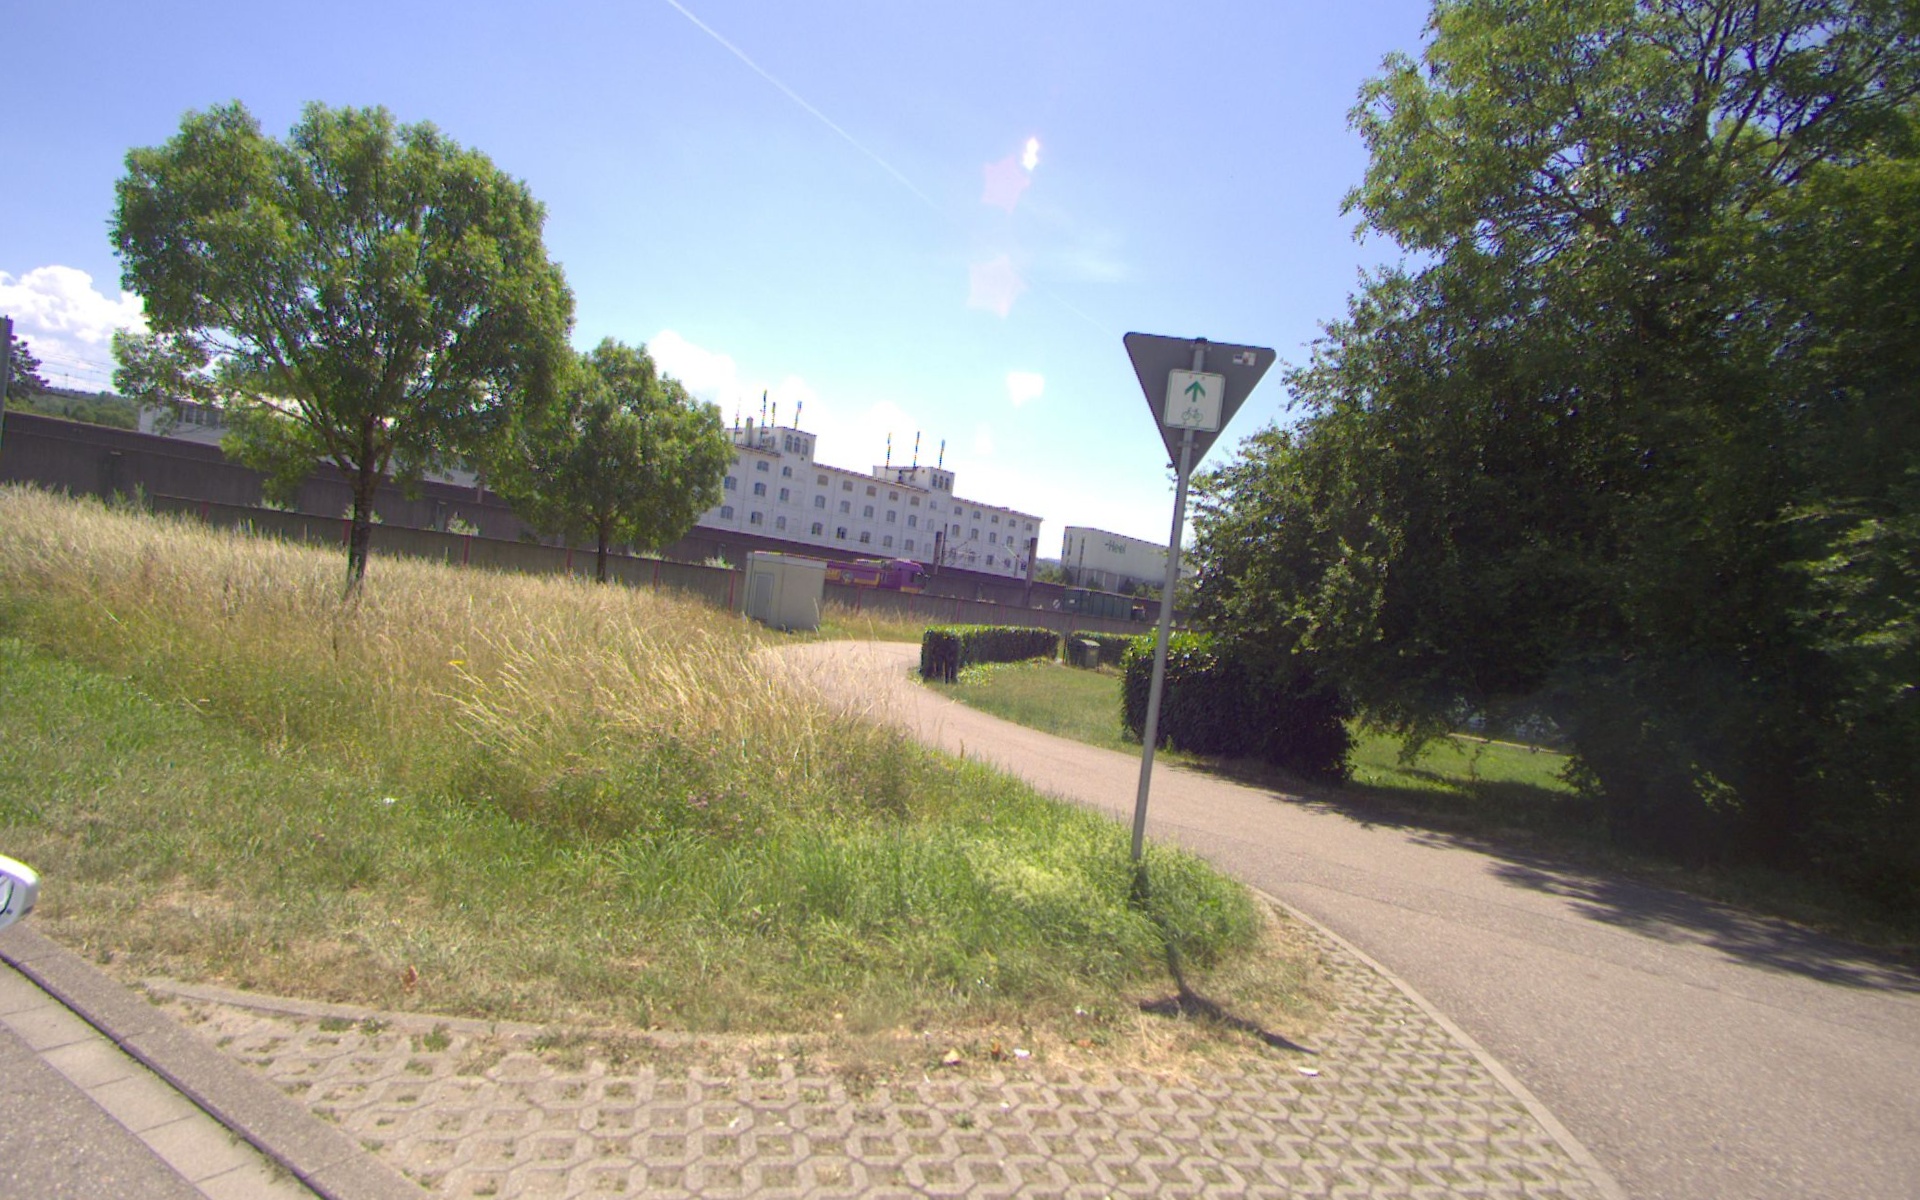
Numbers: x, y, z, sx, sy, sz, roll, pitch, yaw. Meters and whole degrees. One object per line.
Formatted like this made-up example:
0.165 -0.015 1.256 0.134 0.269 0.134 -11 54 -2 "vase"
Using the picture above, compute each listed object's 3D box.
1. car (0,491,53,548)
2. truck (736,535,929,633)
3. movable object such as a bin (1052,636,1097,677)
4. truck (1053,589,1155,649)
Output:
-28.866 -2.559 28.727 1.962 1.520 4.003 8 -1 5 "car"
-6.981 -0.739 57.651 2.963 4.230 11.759 6 -2 40 "truck"
5.413 2.676 47.555 1.540 1.707 1.224 6 -1 41 "movable object such as a bin"
11.728 1.648 80.850 2.961 3.764 10.521 6 -2 38 "truck"
